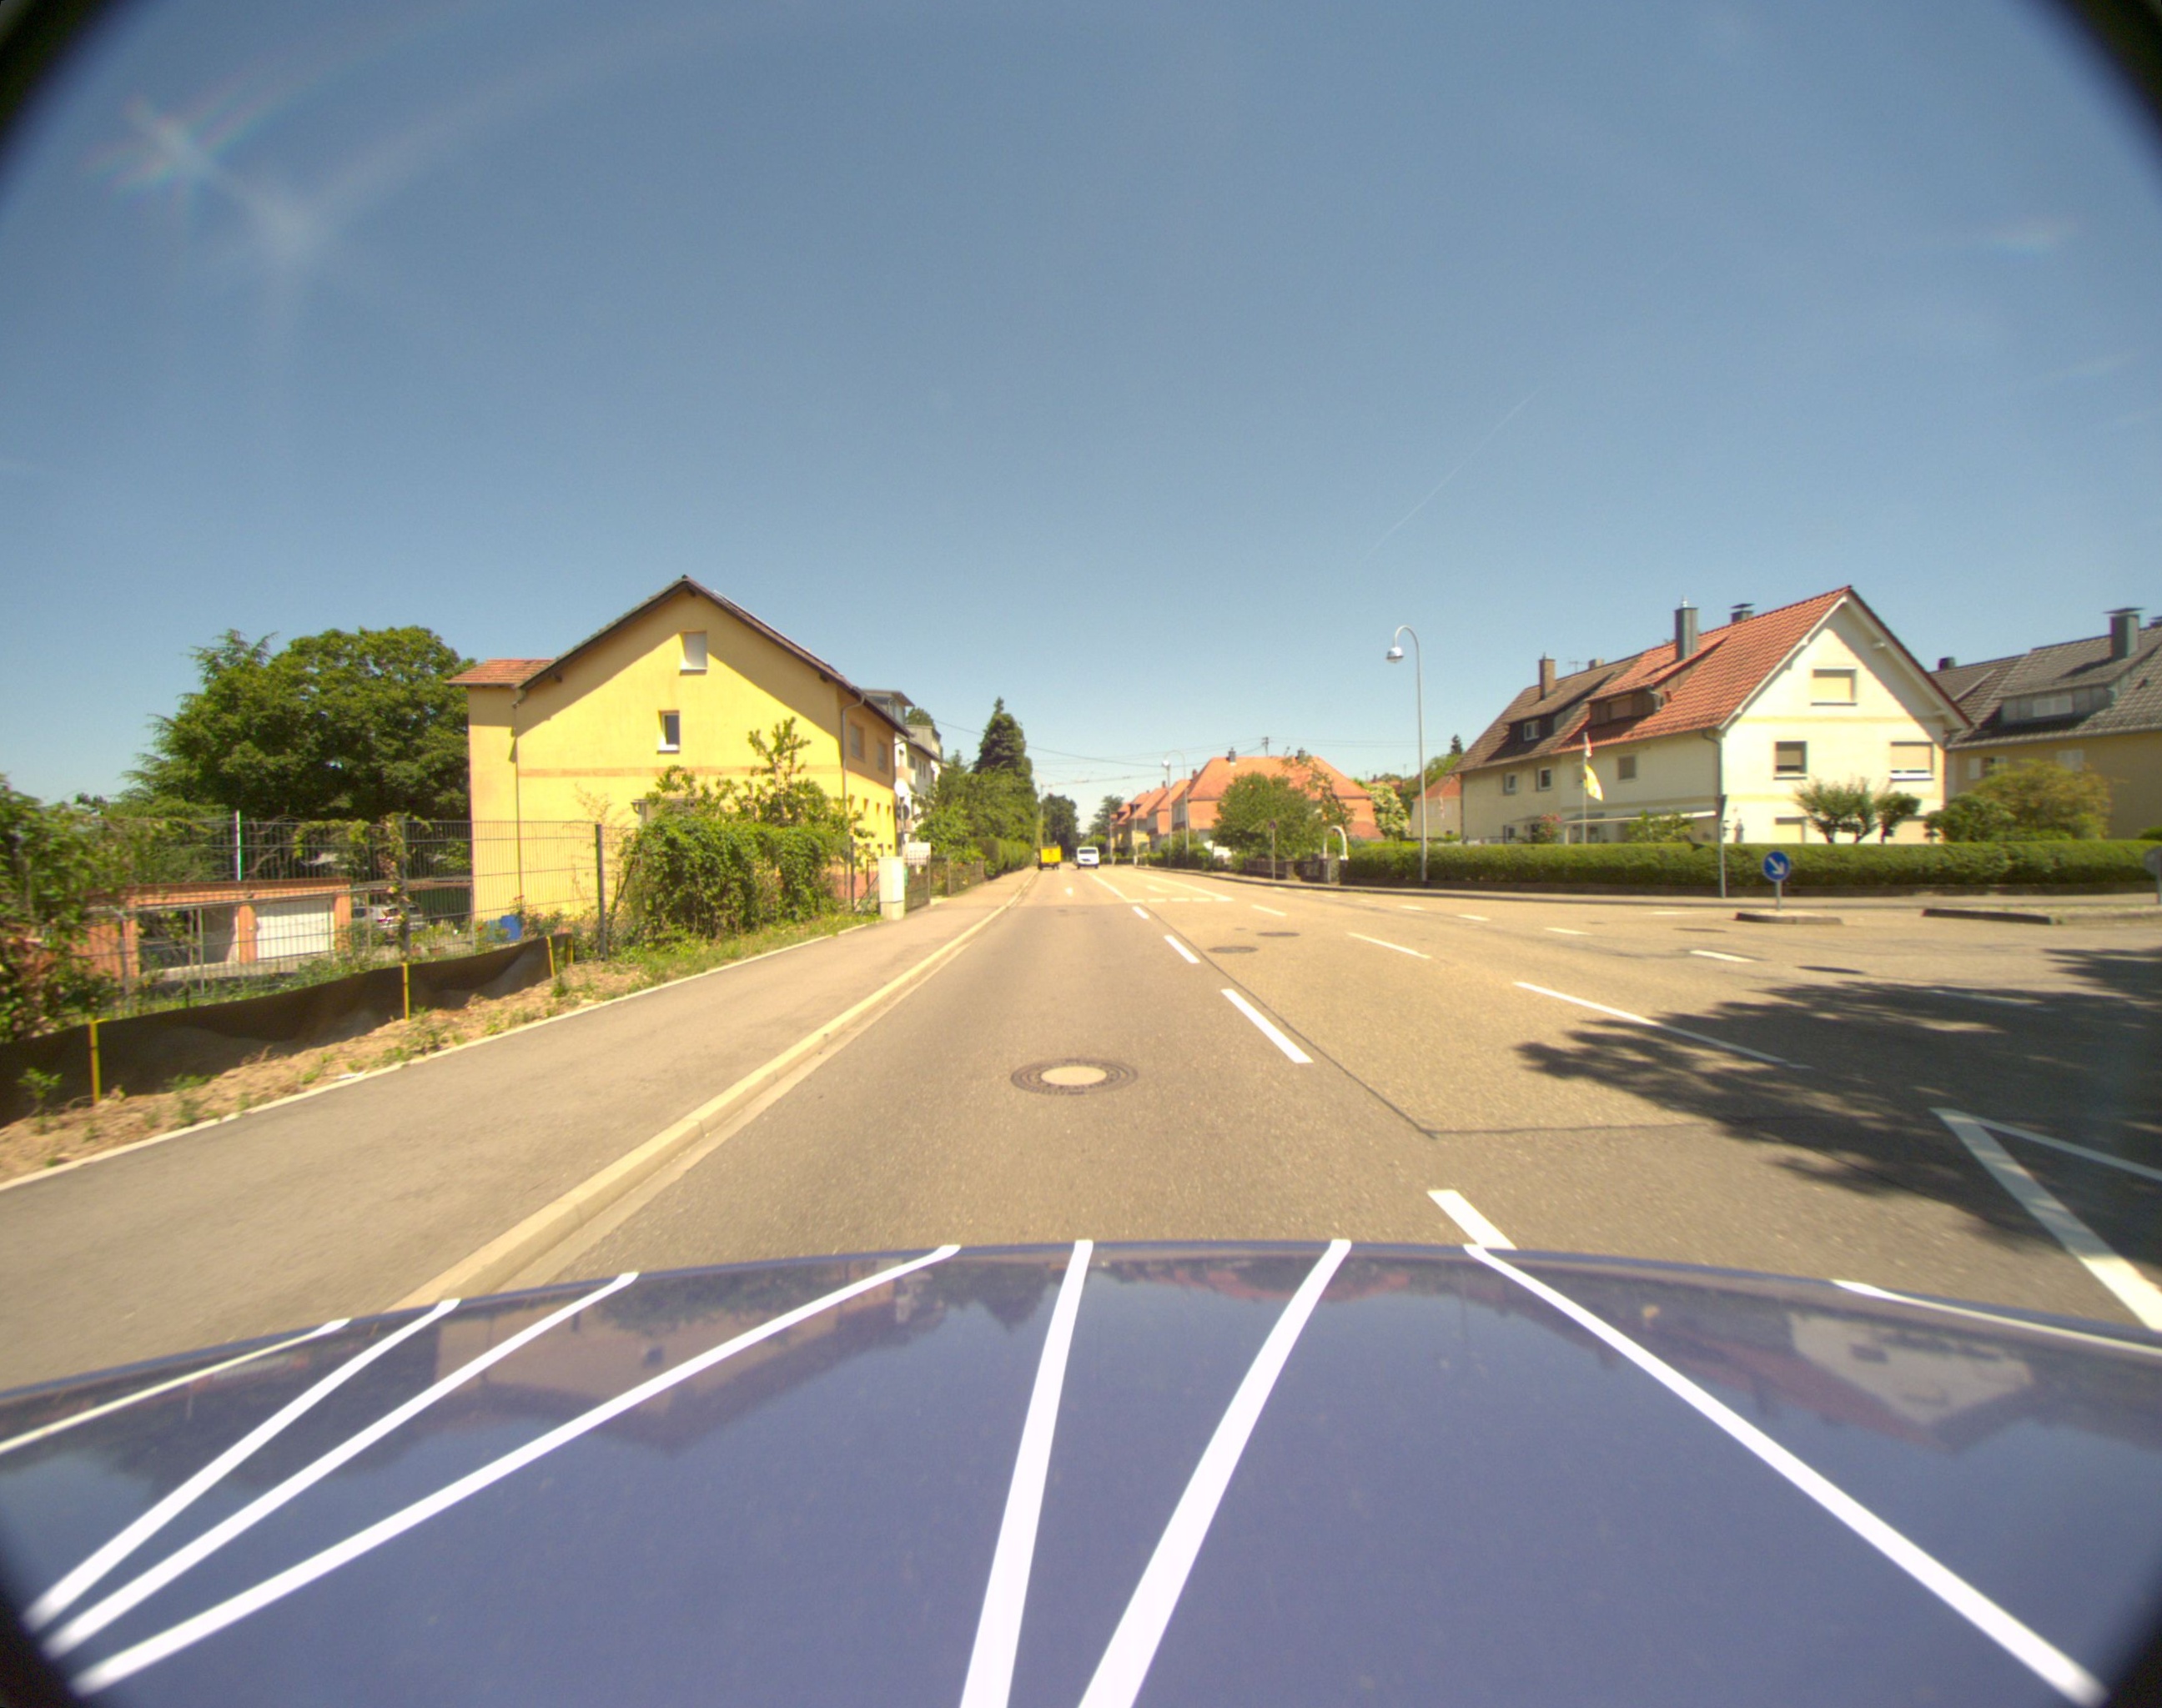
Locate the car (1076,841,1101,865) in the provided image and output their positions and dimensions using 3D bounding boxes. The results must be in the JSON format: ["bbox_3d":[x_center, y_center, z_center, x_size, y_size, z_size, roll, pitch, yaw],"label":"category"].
[{"bbox_3d":[0.671,-0.106,69.023,1.999,2.002,4.385,-3,0,-2],"label":"car"}]

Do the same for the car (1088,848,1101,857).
[{"bbox_3d":[2.104,-0.233,119.234,1.754,1.390,3.999,1,0,-3],"label":"car"}]

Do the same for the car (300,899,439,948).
[{"bbox_3d":[-29.322,2.843,31.407,3.996,1.678,1.885,-3,0,3],"label":"car"}]

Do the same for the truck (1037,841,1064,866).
[{"bbox_3d":[-3.107,-0.026,76.155,2.020,2.295,6.172,-4,0,-8],"label":"truck"}]
